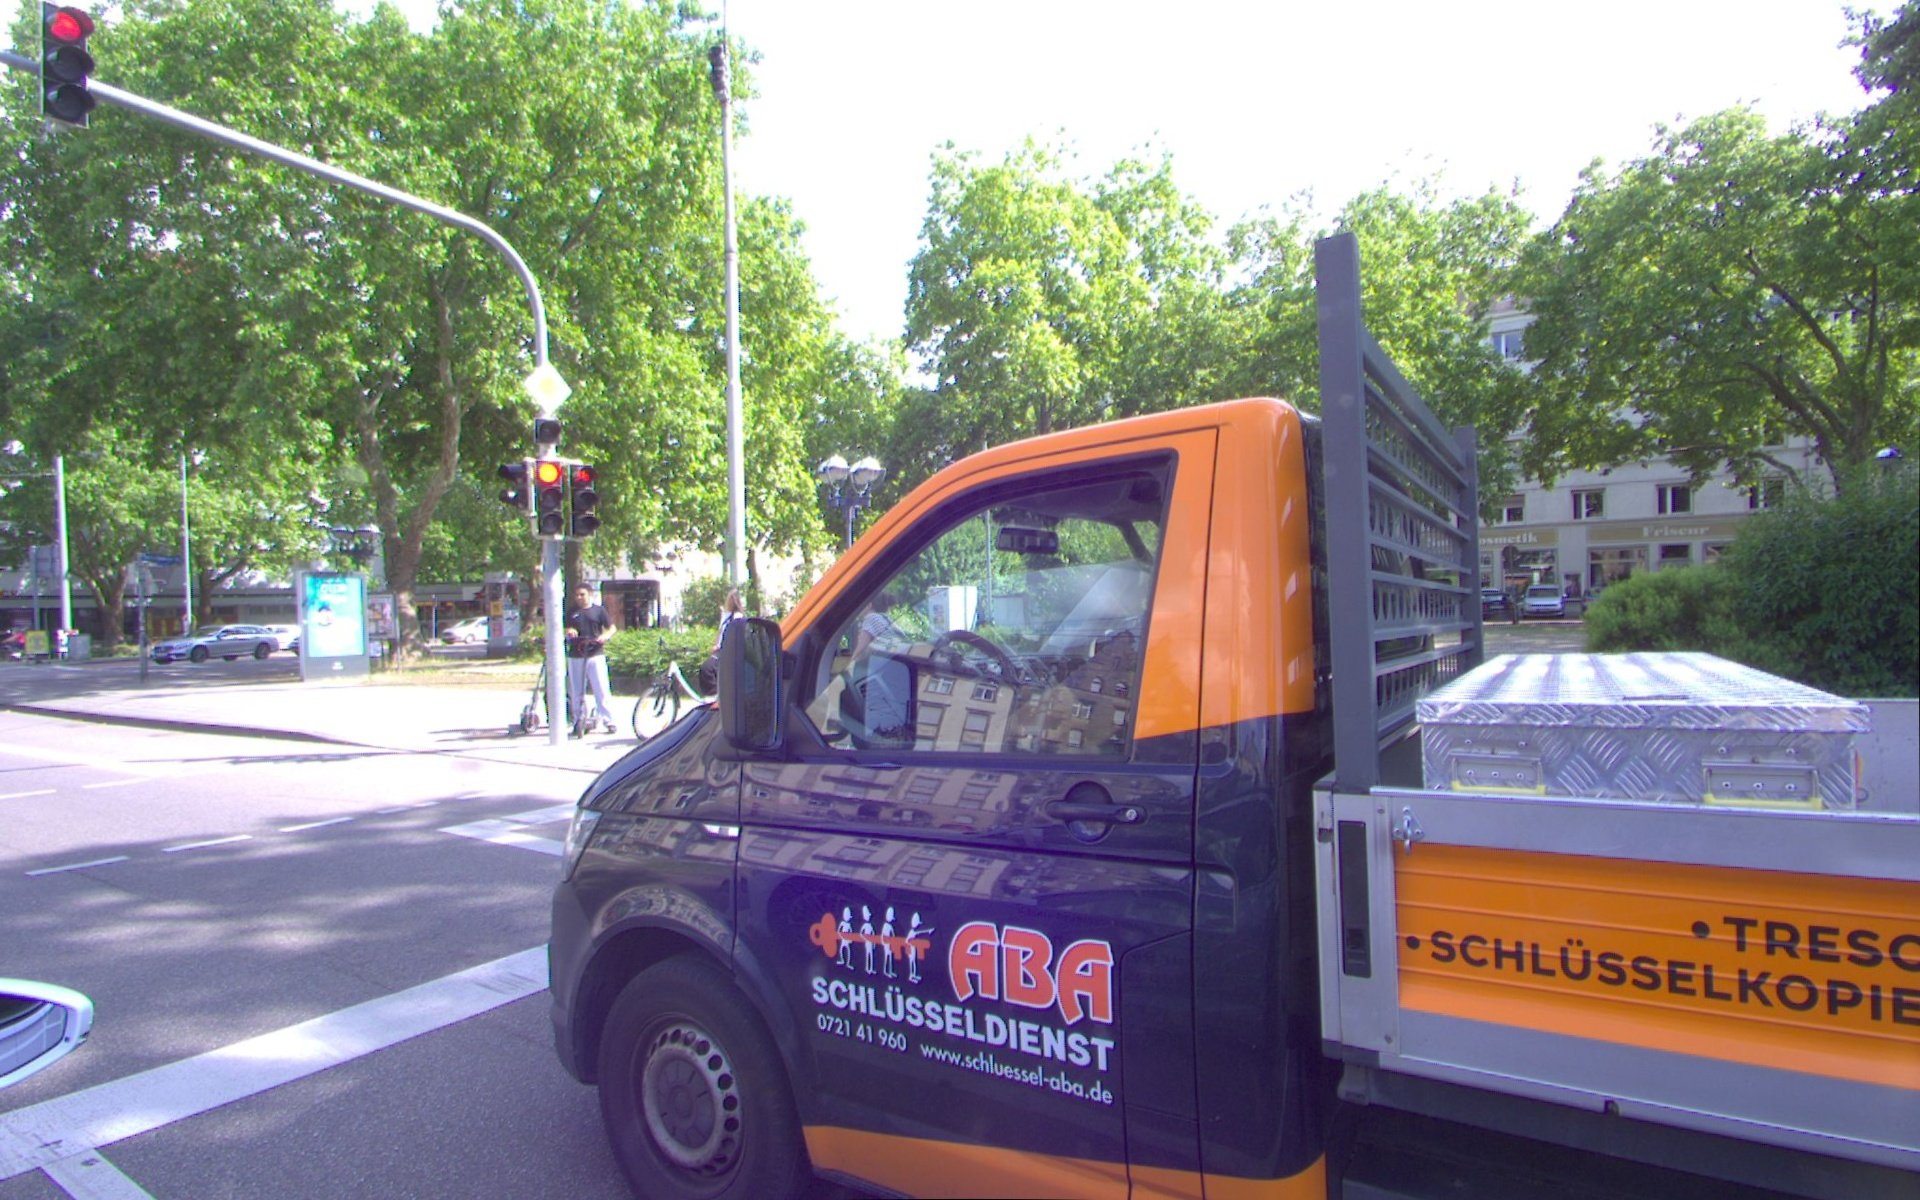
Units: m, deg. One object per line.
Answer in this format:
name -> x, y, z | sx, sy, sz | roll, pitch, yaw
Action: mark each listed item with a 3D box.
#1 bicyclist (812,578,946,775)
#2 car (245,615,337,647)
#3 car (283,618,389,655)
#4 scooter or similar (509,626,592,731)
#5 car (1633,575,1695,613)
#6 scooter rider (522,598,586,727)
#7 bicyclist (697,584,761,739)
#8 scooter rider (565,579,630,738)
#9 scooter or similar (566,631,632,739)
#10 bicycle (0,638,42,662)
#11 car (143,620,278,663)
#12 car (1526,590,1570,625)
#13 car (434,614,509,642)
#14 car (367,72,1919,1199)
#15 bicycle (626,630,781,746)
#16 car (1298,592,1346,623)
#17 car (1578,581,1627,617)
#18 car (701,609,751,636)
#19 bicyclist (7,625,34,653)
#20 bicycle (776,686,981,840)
bicyclist -> -0.605, 0.532, 7.385 | 0.899, 1.361, 0.467 | -1, 1, 42
car -> -35.325, 1.604, 52.940 | 1.712, 1.504, 3.652 | -1, 0, 32
car -> -28.770, 1.642, 46.338 | 1.826, 1.510, 4.072 | -1, 0, 12
scooter or similar -> -5.225, 0.985, 12.823 | 0.534, 1.243, 0.875 | -2, 2, 11
car -> 33.830, -0.298, 48.211 | 2.052, 1.681, 4.063 | -1, 0, 30
scooter rider -> -5.218, 0.795, 12.889 | 0.534, 1.615, 0.437 | -2, 3, 11
bicyclist -> -2.633, 0.678, 11.417 | 0.573, 1.691, 0.506 | -4, 3, -18
scooter rider -> -4.370, 0.679, 12.060 | 0.537, 1.835, 0.675 | -3, 3, -31
scooter or similar -> -4.355, 0.994, 12.069 | 0.537, 1.187, 0.871 | -3, 3, -31
bicycle -> -43.792, 2.297, 46.480 | 1.658, 1.102, 0.480 | 1, -2, -30
car -> -29.823, 1.612, 39.974 | 1.827, 1.510, 3.994 | -1, 0, 16
car -> 29.750, 0.344, 50.715 | 1.824, 1.681, 4.063 | -1, 1, 30
car -> -29.914, 1.697, 61.474 | 1.831, 1.510, 3.836 | -1, 1, 24
car -> 1.058, 0.451, 2.357 | 5.263, 2.012, 2.069 | -3, -1, 33
bicycle -> -2.901, 0.974, 11.341 | 1.602, 1.128, 0.506 | -4, 3, -18
car -> 20.807, 0.391, 57.436 | 1.825, 1.681, 4.062 | -1, 1, 31
car -> 31.692, -0.077, 49.469 | 1.824, 1.681, 4.063 | -1, 1, 30
car -> -14.725, 1.401, 63.170 | 1.658, 1.521, 3.997 | -1, 1, 9
bicyclist -> -43.676, 1.807, 46.554 | 0.802, 1.267, 0.480 | 1, -1, -30
bicycle -> -0.645, 1.152, 7.440 | 1.698, 0.933, 0.467 | -1, 1, 42
